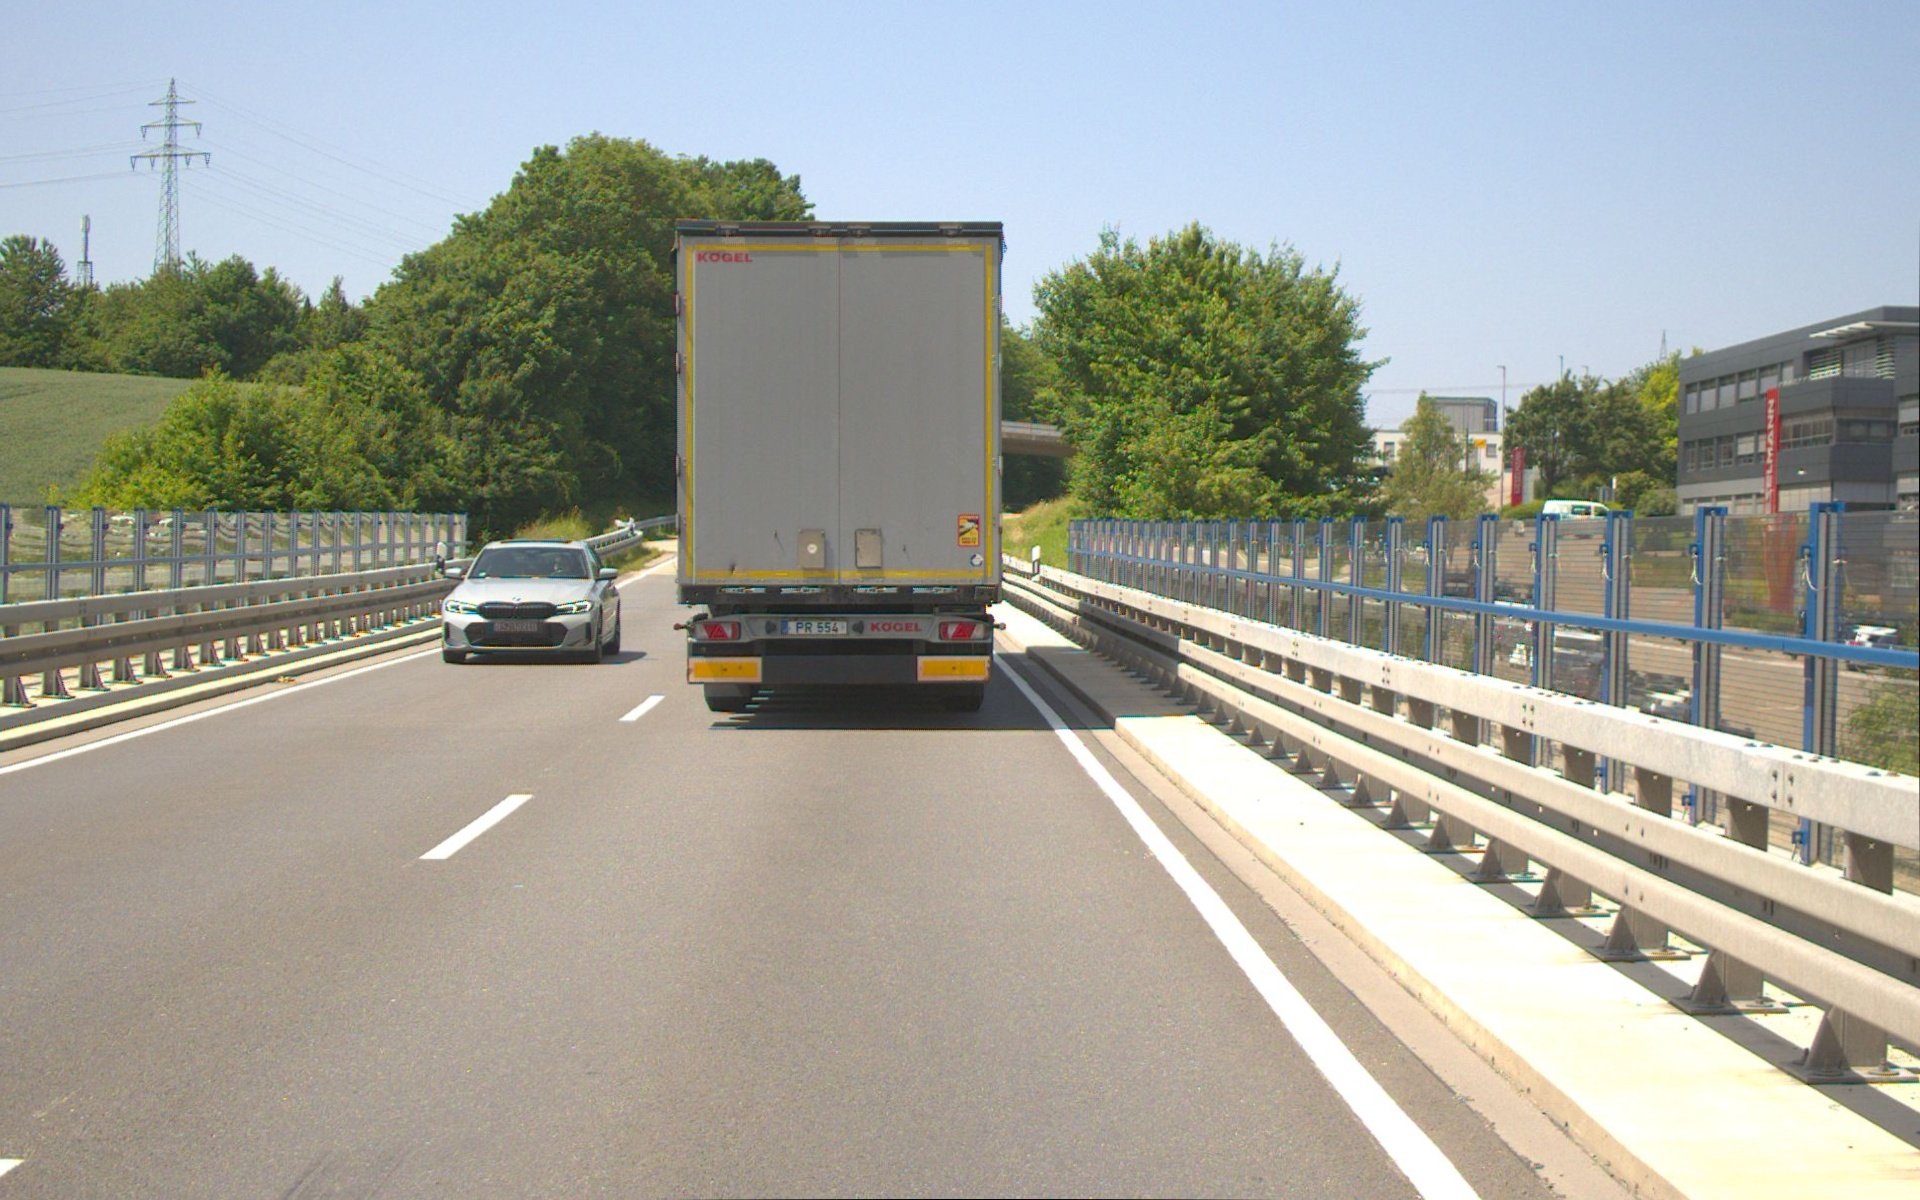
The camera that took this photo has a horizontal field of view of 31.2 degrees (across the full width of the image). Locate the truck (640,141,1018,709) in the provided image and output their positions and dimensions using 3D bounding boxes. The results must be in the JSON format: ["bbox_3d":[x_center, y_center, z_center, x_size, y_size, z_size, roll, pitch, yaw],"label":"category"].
[{"bbox_3d":[-1.181,-1.370,31.348,2.866,4.344,9.789,-1,0,-2],"label":"truck"}]

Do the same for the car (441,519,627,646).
[{"bbox_3d":[-5.066,-0.255,41.444,1.781,1.431,4.835,0,1,-2],"label":"car"}]
